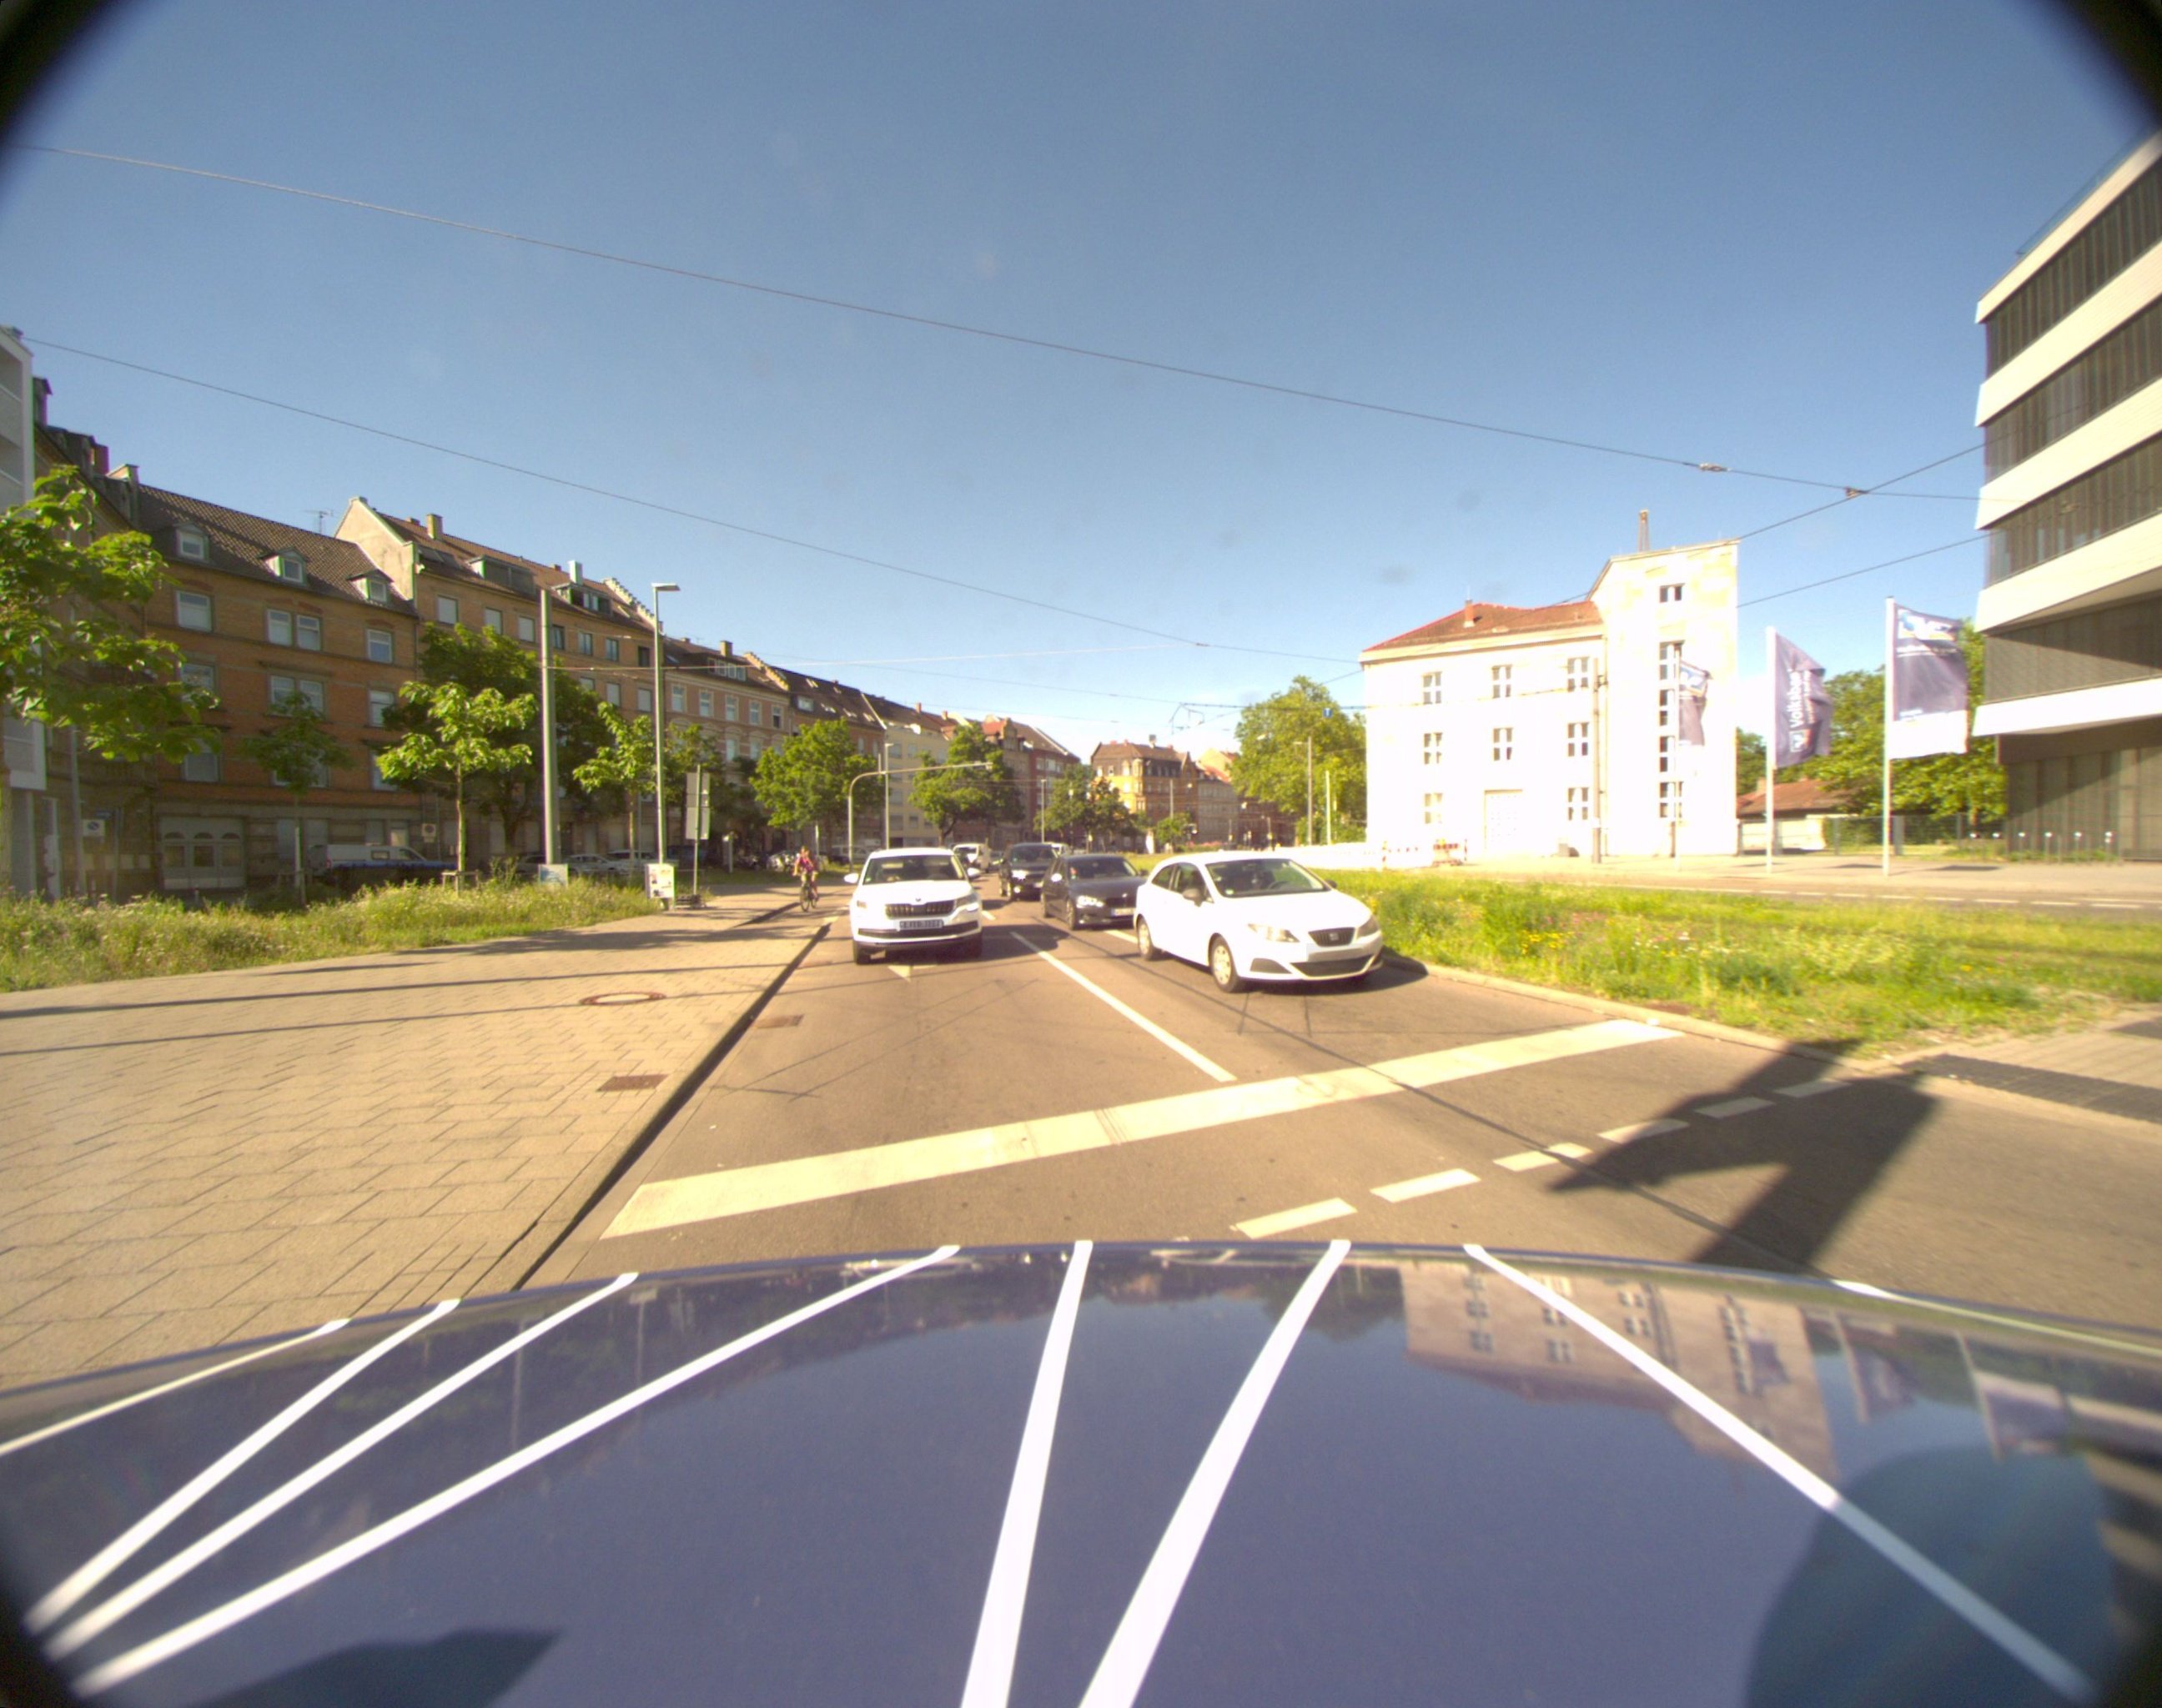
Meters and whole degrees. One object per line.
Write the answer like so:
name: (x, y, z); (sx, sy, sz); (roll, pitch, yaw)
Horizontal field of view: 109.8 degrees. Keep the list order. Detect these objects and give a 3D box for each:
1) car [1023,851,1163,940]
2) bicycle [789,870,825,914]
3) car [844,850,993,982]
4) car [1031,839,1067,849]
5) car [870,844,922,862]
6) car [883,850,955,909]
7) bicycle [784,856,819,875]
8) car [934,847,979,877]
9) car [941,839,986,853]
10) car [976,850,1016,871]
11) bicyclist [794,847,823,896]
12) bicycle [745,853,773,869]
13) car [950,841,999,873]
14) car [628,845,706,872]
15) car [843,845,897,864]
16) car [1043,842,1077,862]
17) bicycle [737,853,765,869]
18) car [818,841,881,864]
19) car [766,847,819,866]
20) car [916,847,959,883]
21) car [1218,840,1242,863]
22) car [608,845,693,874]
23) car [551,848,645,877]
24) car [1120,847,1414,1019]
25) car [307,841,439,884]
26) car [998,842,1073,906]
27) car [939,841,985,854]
car: (0.067, 0.715, 15.542); (1.842, 1.423, 4.478); (-3, 1, -12)
bicycle: (-7.818, 1.066, 21.761); (0.697, 1.099, 2.008); (0, 2, -12)
car: (-2.642, 0.804, 12.249); (1.875, 1.621, 4.332); (-3, 1, -13)
car: (-4.063, -1.265, 96.146); (4.402, 1.203, 1.998); (-1, 1, -11)
car: (-16.691, -0.117, 68.705); (4.402, 1.453, 1.998); (-1, 1, -12)
car: (-4.822, 0.670, 22.486); (1.875, 1.547, 3.995); (-1, 1, -13)
bicycle: (-16.033, 0.627, 43.577); (1.765, 1.018, 0.567); (-2, 2, -40)
car: (-7.100, 0.413, 43.699); (1.873, 1.605, 3.908); (-1, 1, 1)
car: (-12.351, -0.854, 80.002); (4.398, 1.453, 1.999); (-1, 1, -1)
car: (-6.222, 0.450, 56.073); (1.872, 1.439, 3.911); (-1, 1, 10)
bicyclist: (-7.860, 0.501, 21.966); (0.697, 1.369, 0.737); (0, 3, -12)
bicycle: (-21.760, 0.467, 51.297); (1.759, 1.018, 0.452); (-1, 1, 12)
car: (-6.975, 0.141, 50.304); (1.872, 1.970, 4.657); (-1, 1, 10)
car: (-26.841, 0.285, 49.410); (4.001, 1.652, 1.998); (-1, 1, -11)
car: (-18.280, 0.034, 65.999); (4.402, 1.498, 1.998); (-1, 1, -12)
car: (-1.601, -0.183, 59.507); (1.872, 1.547, 4.002); (-1, 1, 10)
bicycle: (-21.985, 0.487, 50.579); (1.759, 1.018, 0.452); (-1, 1, 12)
car: (-19.058, -0.171, 62.799); (4.795, 1.761, 1.730); (-1, 1, -11)
car: (-21.667, 0.186, 57.246); (3.466, 1.324, 1.730); (-1, 1, -11)
car: (-6.877, 0.468, 36.299); (1.875, 1.547, 3.995); (-1, 1, -12)
car: (11.751, -0.240, 59.943); (1.767, 1.740, 4.003); (-1, 1, 11)
car: (-25.947, 0.303, 45.913); (4.001, 1.652, 1.998); (-1, 1, -11)
car: (-27.410, 0.457, 43.267); (4.001, 1.456, 1.998); (-1, 1, -11)
car: (1.834, 0.685, 8.803); (1.670, 1.423, 3.830); (-4, 2, -13)
car: (-37.557, 0.415, 40.464); (1.995, 2.100, 4.650); (-1, 1, 26)
car: (-1.486, 0.523, 23.256); (1.770, 1.675, 4.323); (-2, 1, -10)
car: (-12.018, -0.710, 77.028); (4.398, 1.227, 1.999); (-1, 1, -1)
